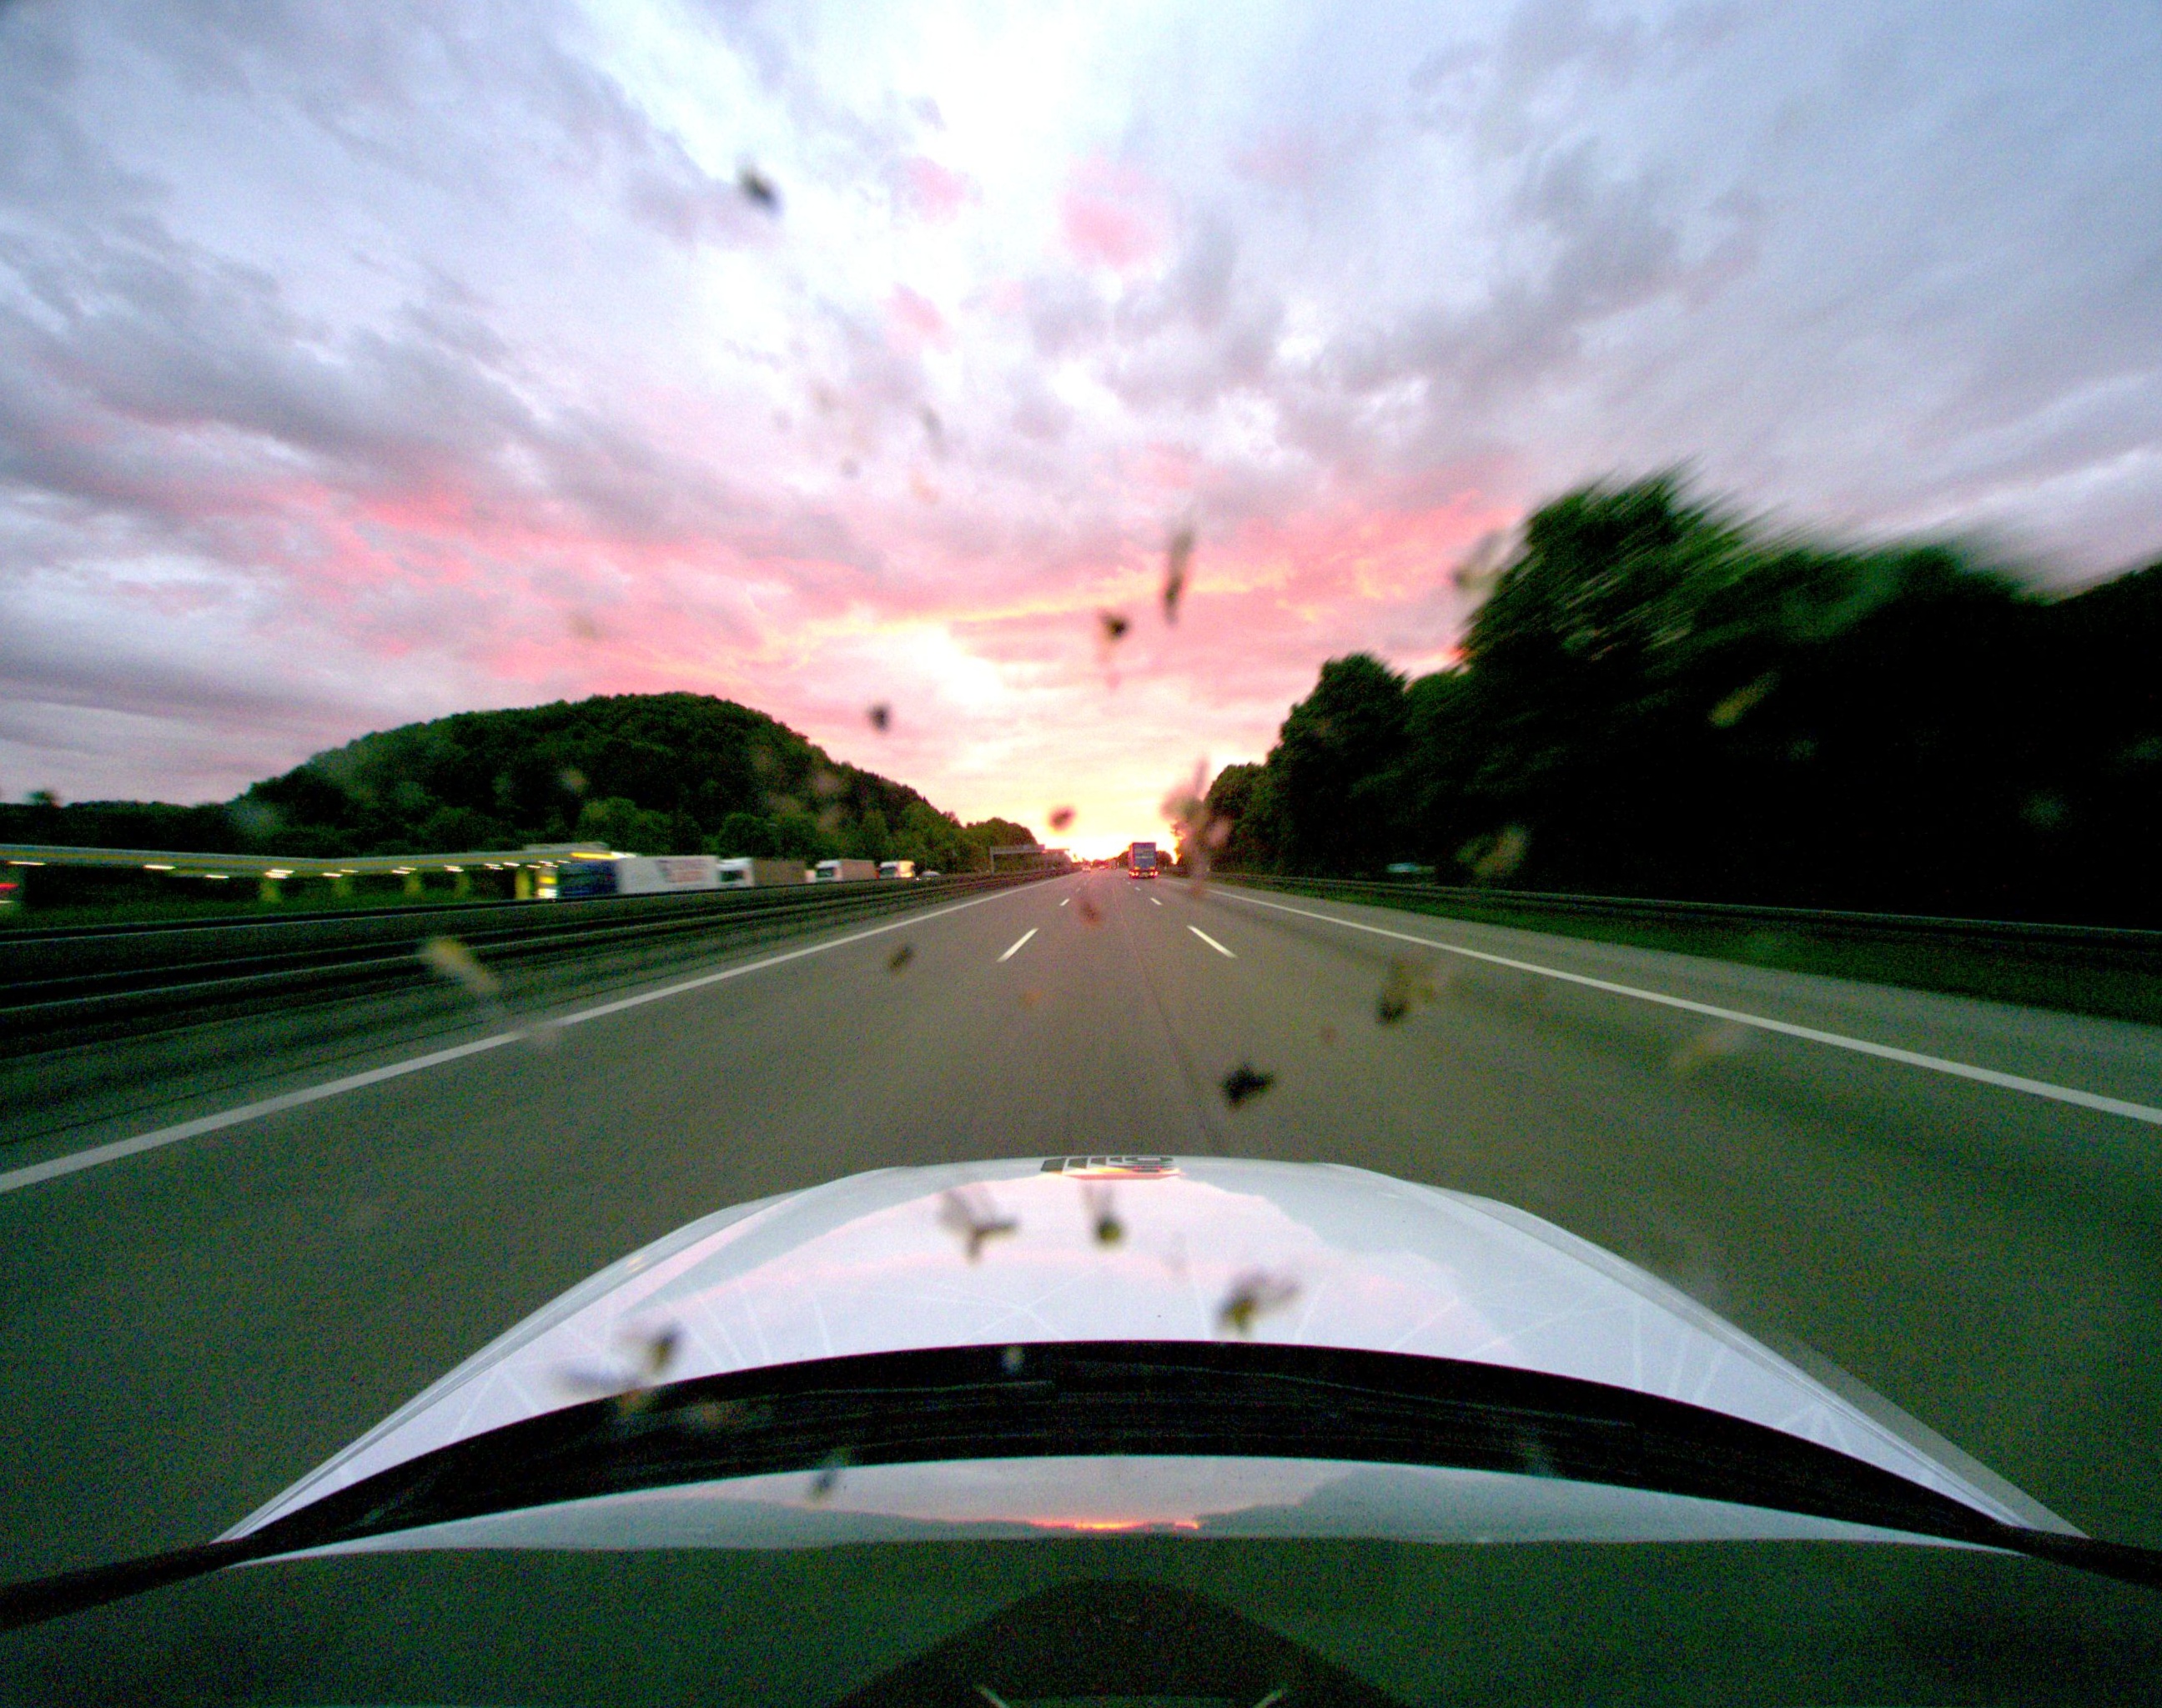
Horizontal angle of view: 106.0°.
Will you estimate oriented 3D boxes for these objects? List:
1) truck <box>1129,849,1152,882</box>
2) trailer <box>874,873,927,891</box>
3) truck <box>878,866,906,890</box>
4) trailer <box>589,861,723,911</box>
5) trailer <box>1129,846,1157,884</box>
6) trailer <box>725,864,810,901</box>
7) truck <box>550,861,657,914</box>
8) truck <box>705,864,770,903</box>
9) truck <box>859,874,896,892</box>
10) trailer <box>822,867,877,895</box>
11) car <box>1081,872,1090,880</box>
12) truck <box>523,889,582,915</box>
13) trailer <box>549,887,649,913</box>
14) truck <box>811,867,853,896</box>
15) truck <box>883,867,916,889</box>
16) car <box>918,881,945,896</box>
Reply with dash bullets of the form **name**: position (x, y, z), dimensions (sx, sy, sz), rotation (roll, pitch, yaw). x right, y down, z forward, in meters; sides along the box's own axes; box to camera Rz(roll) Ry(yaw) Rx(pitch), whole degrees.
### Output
- **truck**: position (7.460, 1.534, 102.227), dimensions (2.725, 3.997, 5.853), rotation (-1, -2, 3)
- **trailer**: position (-39.532, 6.143, 179.114), dimensions (3.032, 3.679, 13.426), rotation (-2, -1, 31)
- **truck**: position (-28.911, 3.647, 124.673), dimensions (2.866, 3.425, 6.719), rotation (-1, -1, -2)
- **trailer**: position (-32.271, 2.357, 62.898), dimensions (2.861, 3.425, 13.232), rotation (-1, -1, 3)
- **trailer**: position (7.143, 1.362, 95.358), dimensions (2.761, 4.087, 13.744), rotation (-1, -2, 2)
- **trailer**: position (-31.399, 2.808, 82.437), dimensions (2.862, 3.425, 13.577), rotation (-1, -1, 2)
- **truck**: position (-32.625, 2.246, 56.062), dimensions (2.861, 3.376, 7.179), rotation (-1, -1, 3)
- **truck**: position (-31.703, 2.673, 75.493), dimensions (2.862, 3.425, 6.729), rotation (-1, -1, 2)
- **truck**: position (-43.159, 6.104, 173.237), dimensions (2.975, 3.679, 7.726), rotation (-2, -2, 32)
- **trailer**: position (-30.325, 3.477, 107.490), dimensions (2.862, 3.425, 13.856), rotation (-1, -1, 2)
- **car**: position (1.077, 5.159, 189.921), dimensions (2.006, 1.749, 3.903), rotation (-4, -2, 1)
- **truck**: position (-79.162, 7.122, 122.127), dimensions (2.903, 3.519, 6.755), rotation (-3, -2, 35)
- **trailer**: position (-75.268, 7.144, 127.694), dimensions (2.903, 3.519, 13.504), rotation (-3, -2, 35)
- **truck**: position (-30.630, 3.327, 100.435), dimensions (2.862, 3.425, 6.730), rotation (-1, -1, 3)
- **truck**: position (-29.210, 3.812, 131.782), dimensions (2.867, 3.425, 13.773), rotation (-1, -1, -3)
- **car**: position (-17.142, 3.928, 93.413), dimensions (1.986, 1.594, 4.743), rotation (-1, -1, 2)
